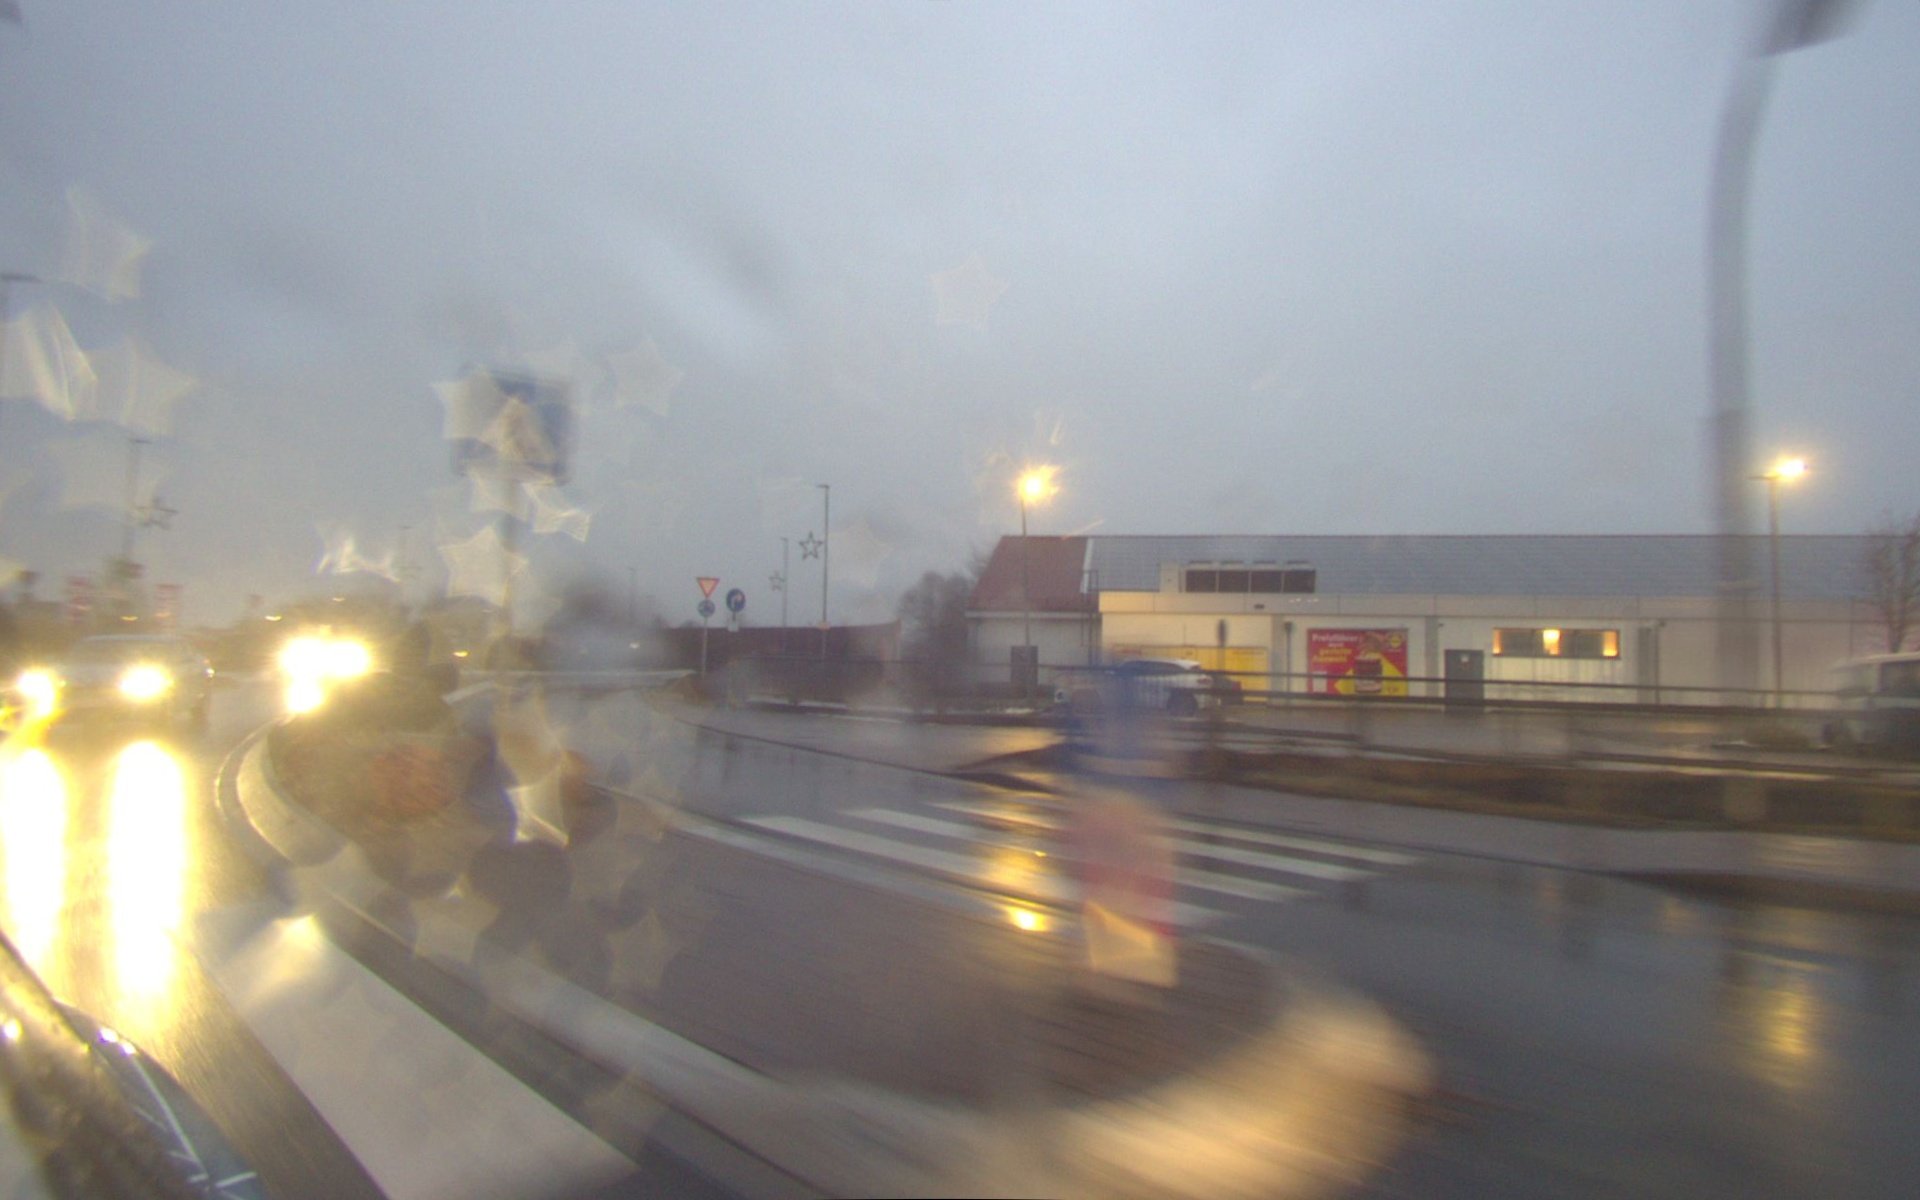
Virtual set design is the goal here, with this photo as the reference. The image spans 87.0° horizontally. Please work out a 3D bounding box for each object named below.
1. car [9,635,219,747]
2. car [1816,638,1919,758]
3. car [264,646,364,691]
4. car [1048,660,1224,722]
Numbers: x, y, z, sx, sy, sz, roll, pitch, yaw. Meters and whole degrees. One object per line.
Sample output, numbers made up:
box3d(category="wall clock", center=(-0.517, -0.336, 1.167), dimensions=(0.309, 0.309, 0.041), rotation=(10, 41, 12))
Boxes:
box3d(category="car", center=(-14.199, 1.482, 17.287), dimensions=(1.746, 1.655, 4.435), rotation=(2, -4, -27))
box3d(category="car", center=(19.562, 1.875, 19.393), dimensions=(2.192, 2.300, 5.190), rotation=(-1, -5, 7))
box3d(category="car", center=(-22.728, 2.385, 35.561), dimensions=(3.999, 1.484, 1.972), rotation=(-2, -4, 42))
box3d(category="car", center=(4.938, 2.539, 28.551), dimensions=(4.735, 1.548, 1.682), rotation=(1, -4, 11))
